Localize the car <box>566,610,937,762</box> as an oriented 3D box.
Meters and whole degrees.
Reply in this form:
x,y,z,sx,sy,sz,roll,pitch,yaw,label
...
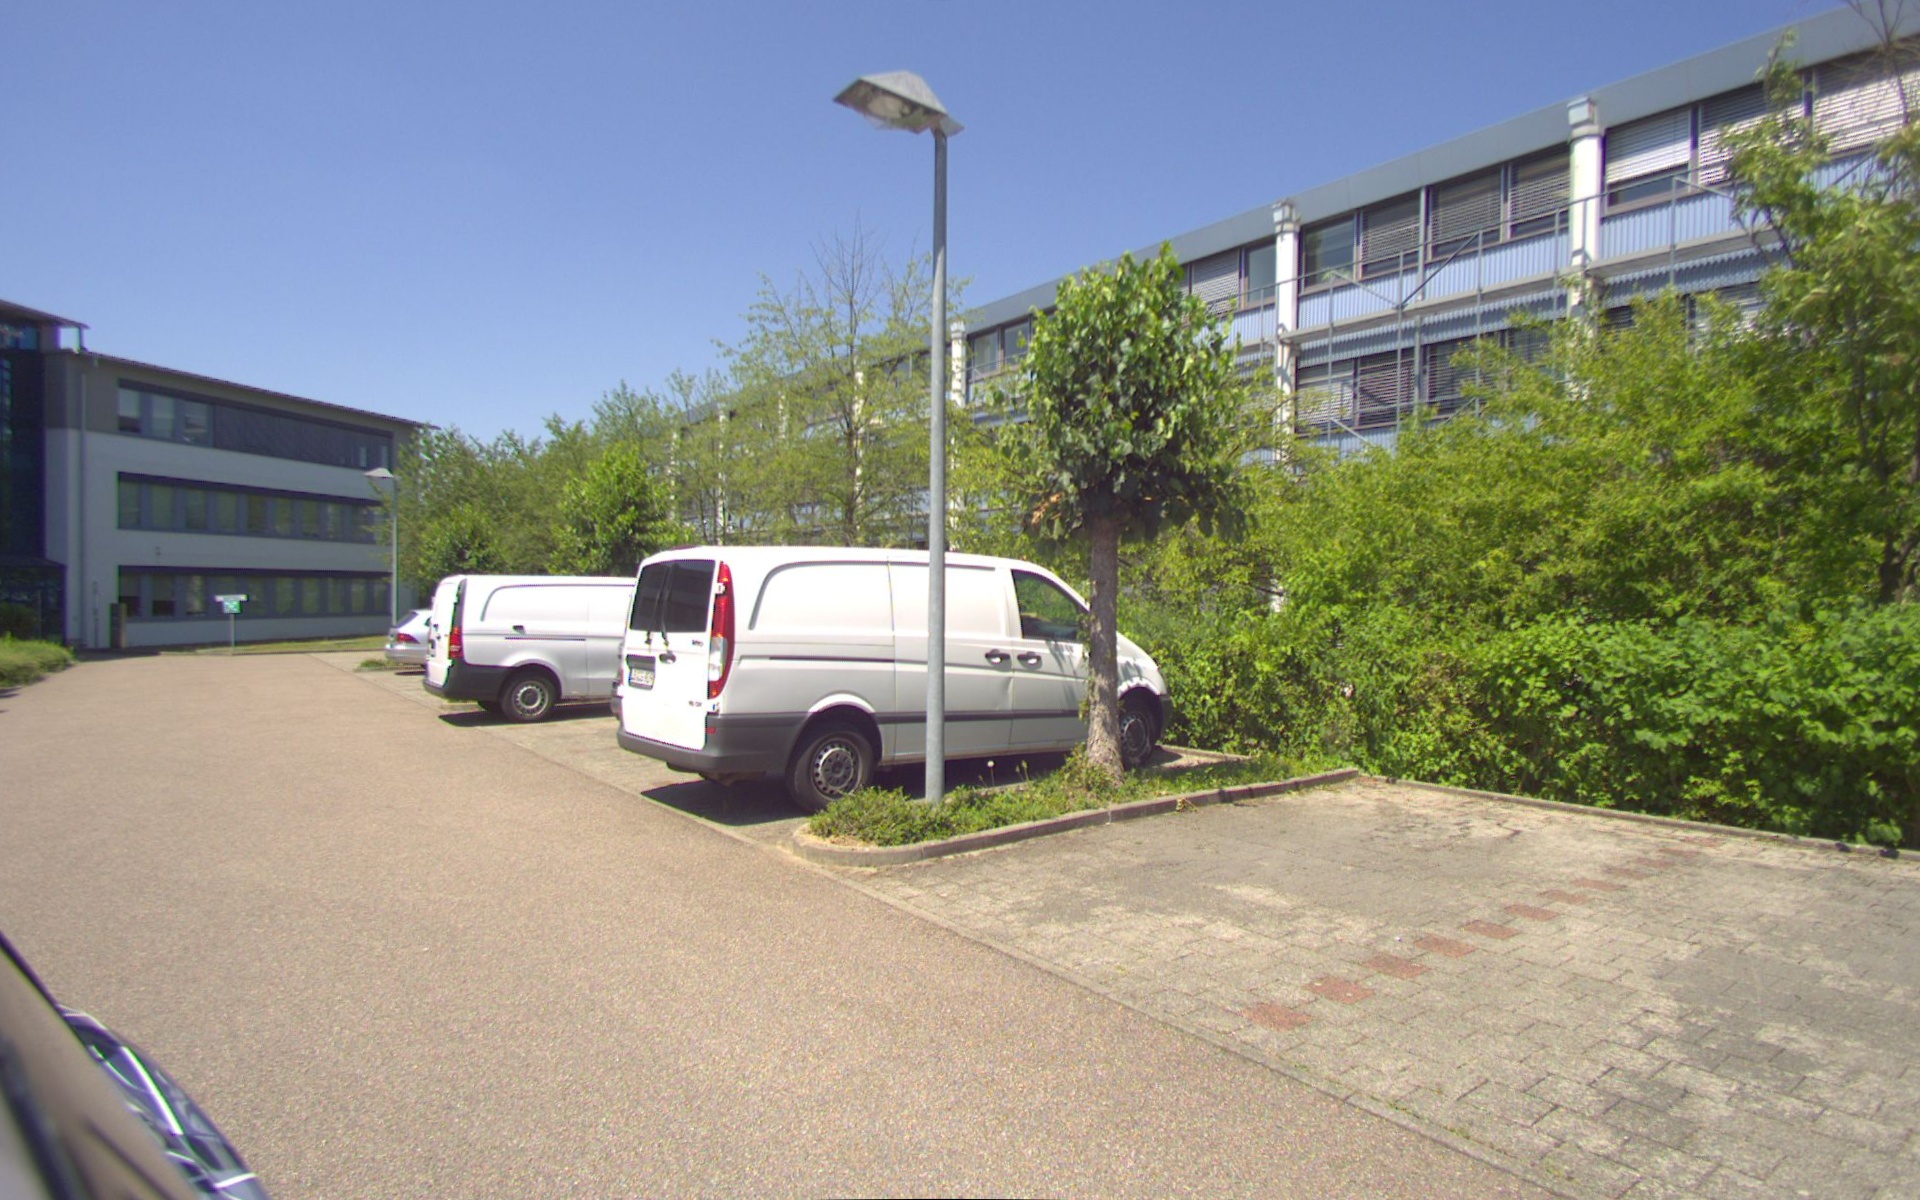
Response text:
x,y,z,sx,sy,sz,roll,pitch,yaw,label
-2.246,0.832,11.390,3.790,1.404,1.580,0,0,-39,car

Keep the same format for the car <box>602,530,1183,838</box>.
x,y,z,sx,sy,sz,roll,pitch,yaw,label
-0.356,0.524,8.497,4.660,1.920,1.833,0,0,-39,car

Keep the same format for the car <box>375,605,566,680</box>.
x,y,z,sx,sy,sz,roll,pitch,yaw,label
-11.233,0.913,23.325,3.705,1.569,1.664,0,0,-39,car

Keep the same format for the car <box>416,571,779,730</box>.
x,y,z,sx,sy,sz,roll,pitch,yaw,label
-4.959,0.609,14.192,4.448,1.896,1.833,0,0,-39,car
